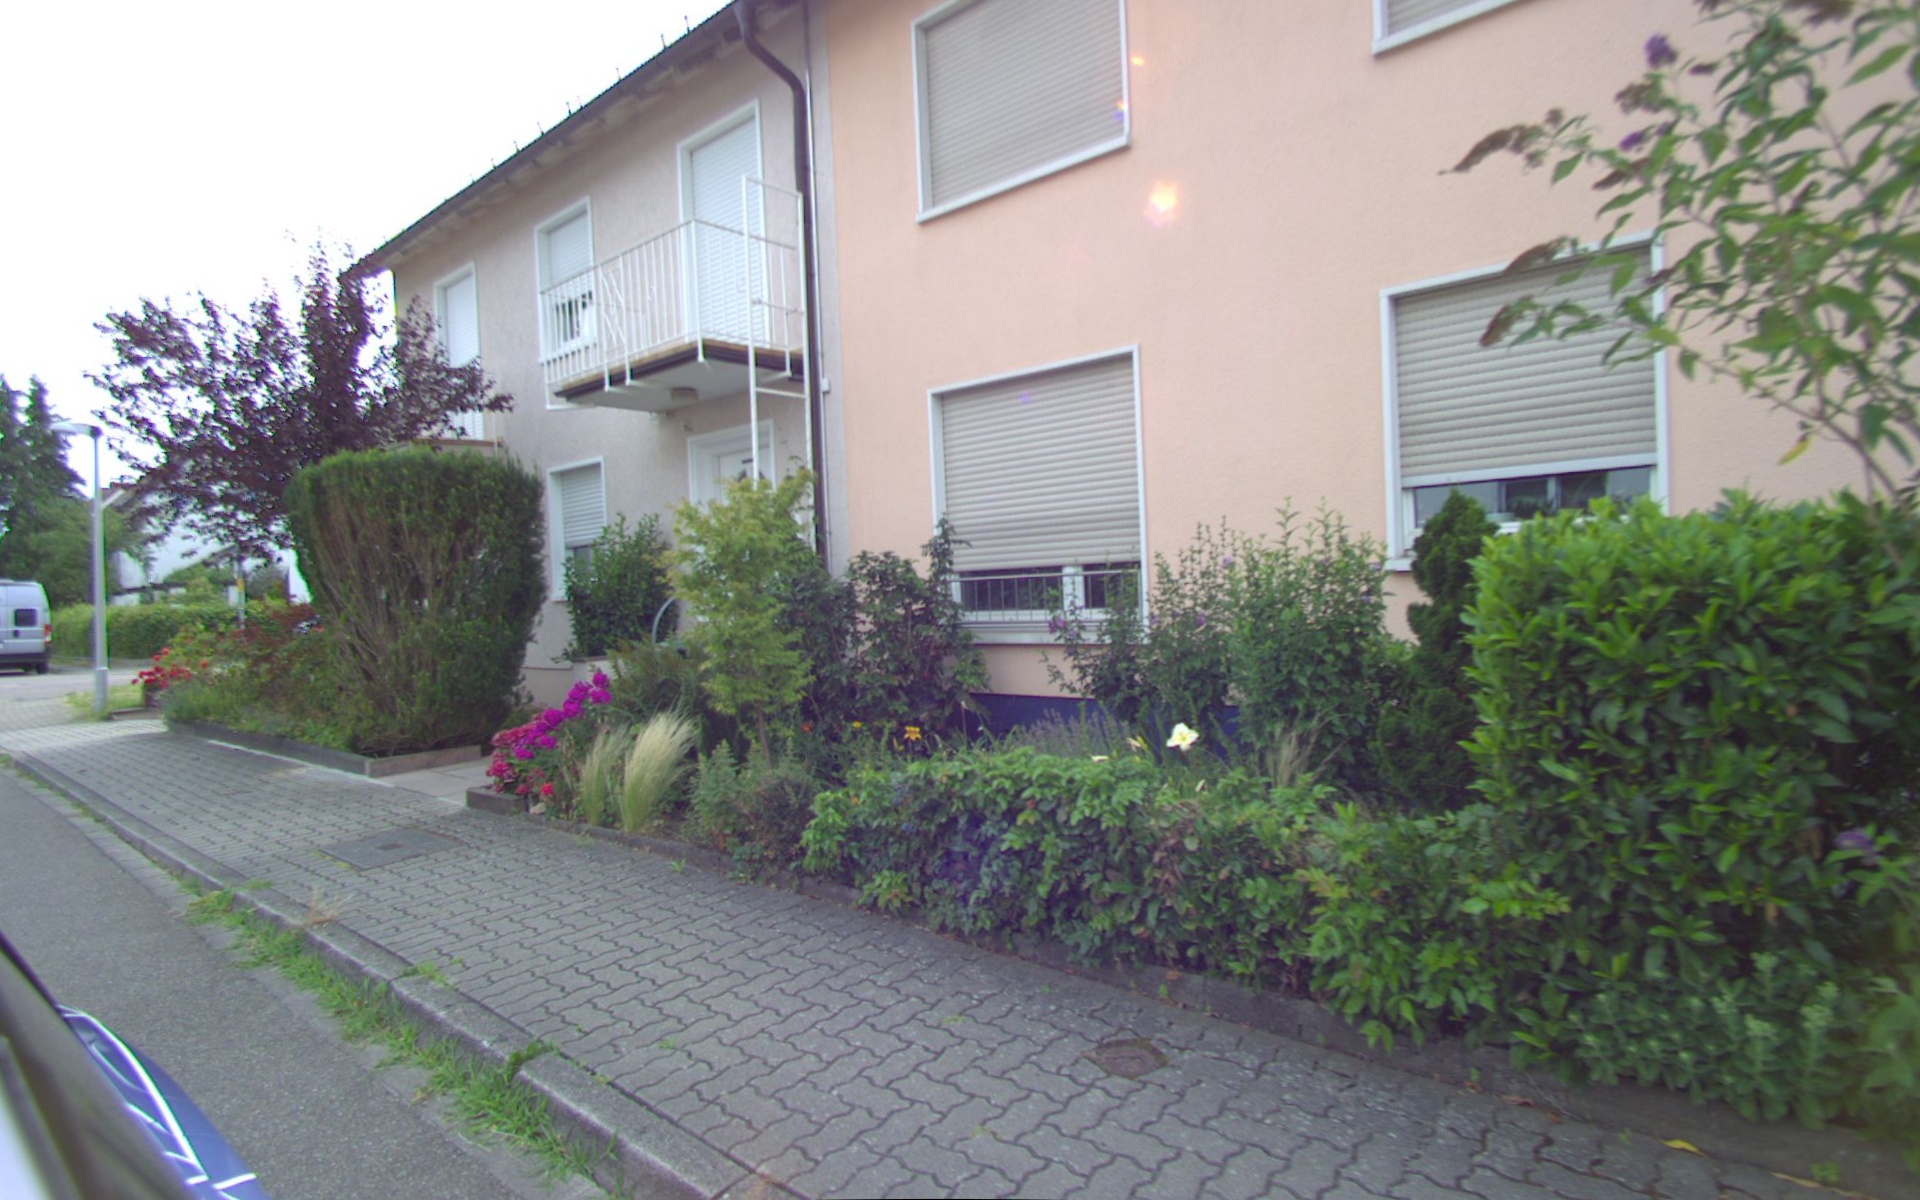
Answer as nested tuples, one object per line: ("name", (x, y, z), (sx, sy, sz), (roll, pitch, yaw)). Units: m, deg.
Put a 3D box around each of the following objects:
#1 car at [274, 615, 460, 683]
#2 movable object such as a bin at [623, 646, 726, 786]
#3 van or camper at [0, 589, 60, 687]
("car", (-15.438, 1.231, 26.493), (1.721, 1.452, 3.833), (-3, 0, 41))
("movable object such as a bin", (-2.067, 0.816, 7.320), (0.505, 0.938, 0.484), (-3, 0, 40))
("van or camper", (-29.568, 1.197, 30.994), (5.746, 2.755, 2.316), (-3, 0, 42))
